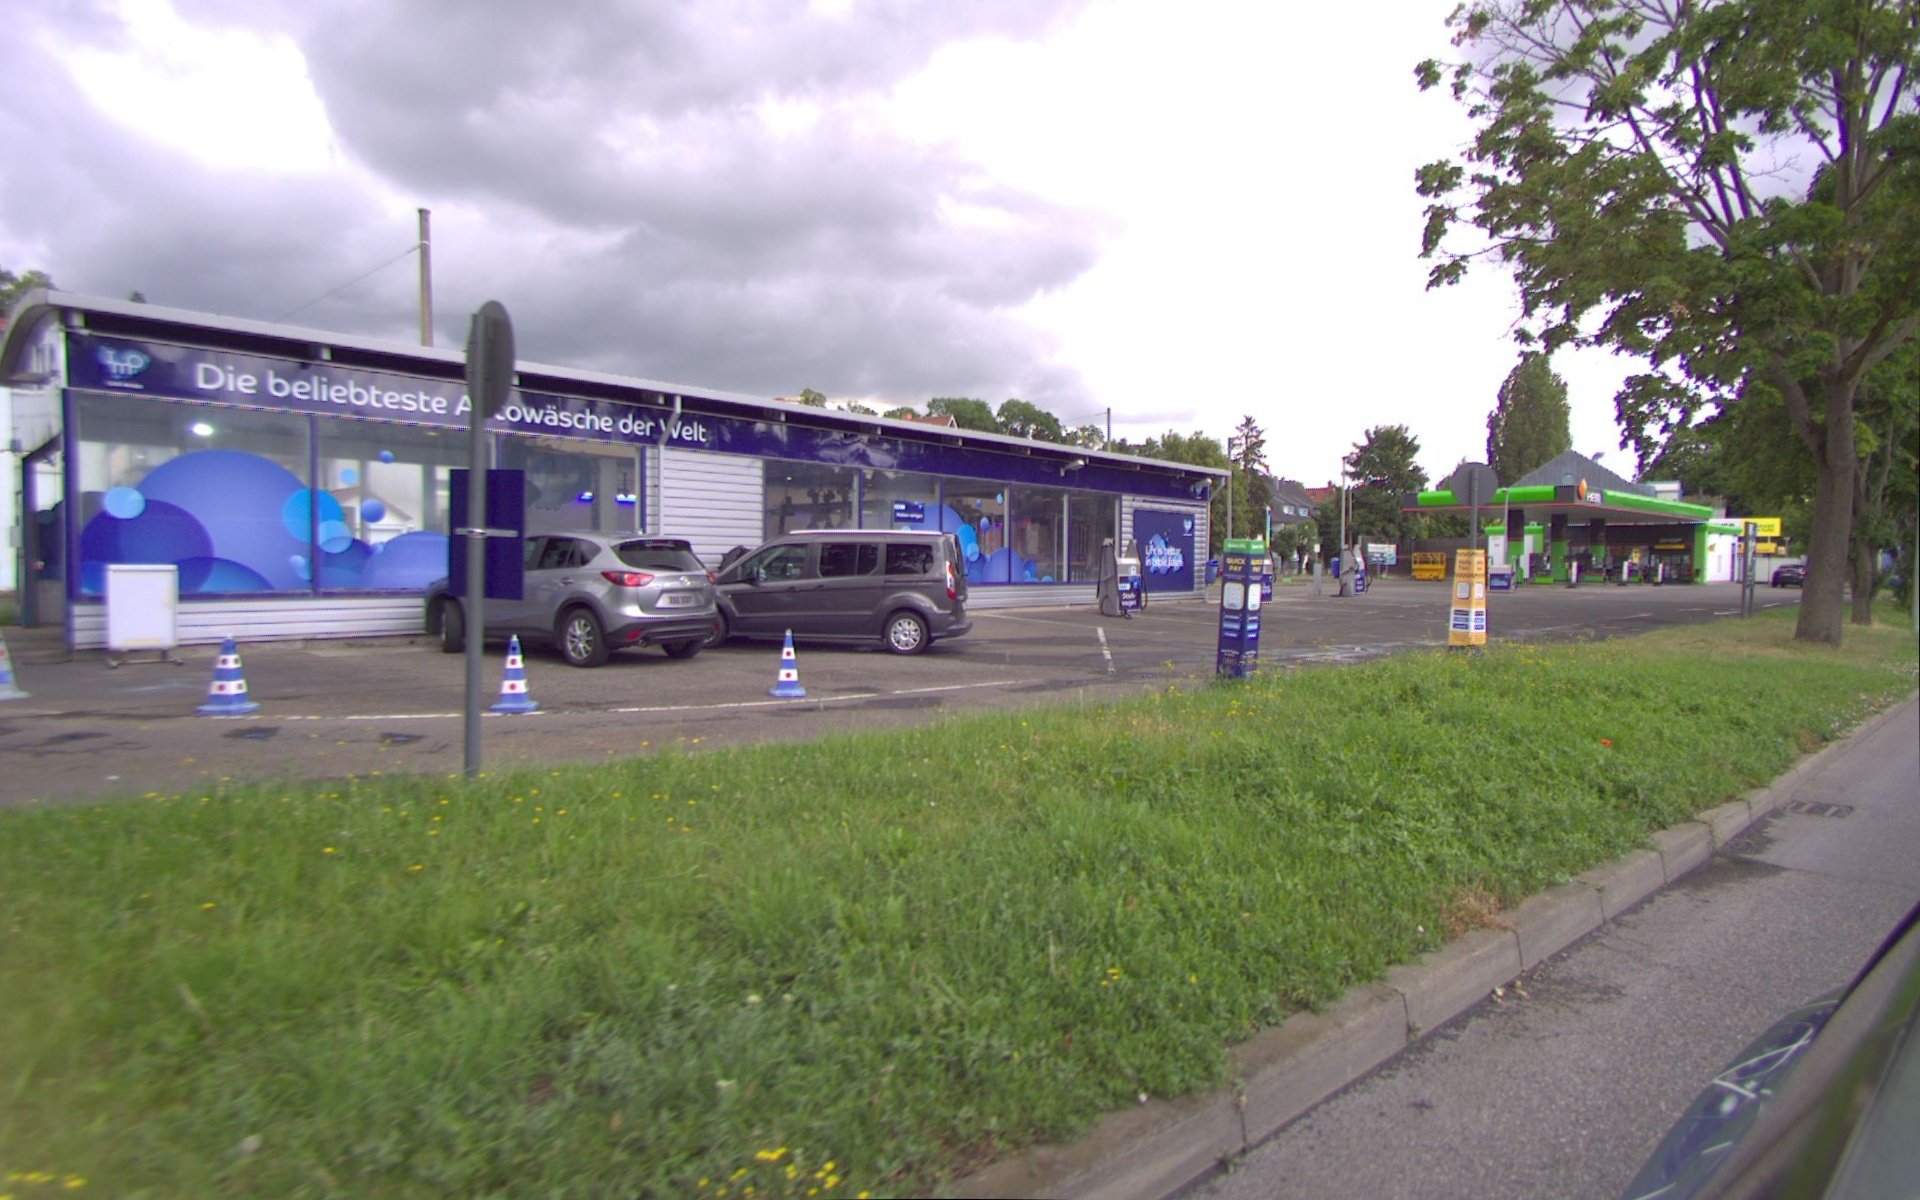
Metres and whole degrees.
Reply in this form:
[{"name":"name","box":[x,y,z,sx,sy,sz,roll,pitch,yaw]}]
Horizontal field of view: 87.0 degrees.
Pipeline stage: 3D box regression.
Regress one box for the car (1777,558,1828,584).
[{"name":"car","box":[59.337,-2.048,71.259,4.251,1.658,1.998,-1,5,-41]}]

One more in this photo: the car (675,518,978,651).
[{"name":"car","box":[-1.956,-0.278,15.504,4.309,1.844,1.749,1,2,7]}]

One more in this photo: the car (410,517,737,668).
[{"name":"car","box":[-5.152,-0.183,13.371,4.177,1.718,1.821,3,2,30]}]

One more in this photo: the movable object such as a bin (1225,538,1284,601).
[{"name":"movable object such as a bin","box":[8.950,-0.940,30.763,1.432,1.841,1.159,-1,3,-45]}]

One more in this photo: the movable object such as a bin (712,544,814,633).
[{"name":"movable object such as a bin","box":[-3.485,-0.232,17.940,1.365,1.492,1.159,-1,3,-45]}]

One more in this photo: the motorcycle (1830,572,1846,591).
[{"name":"motorcycle","box":[56.967,-1.185,65.648,0.702,1.201,2.352,2,3,42]}]
